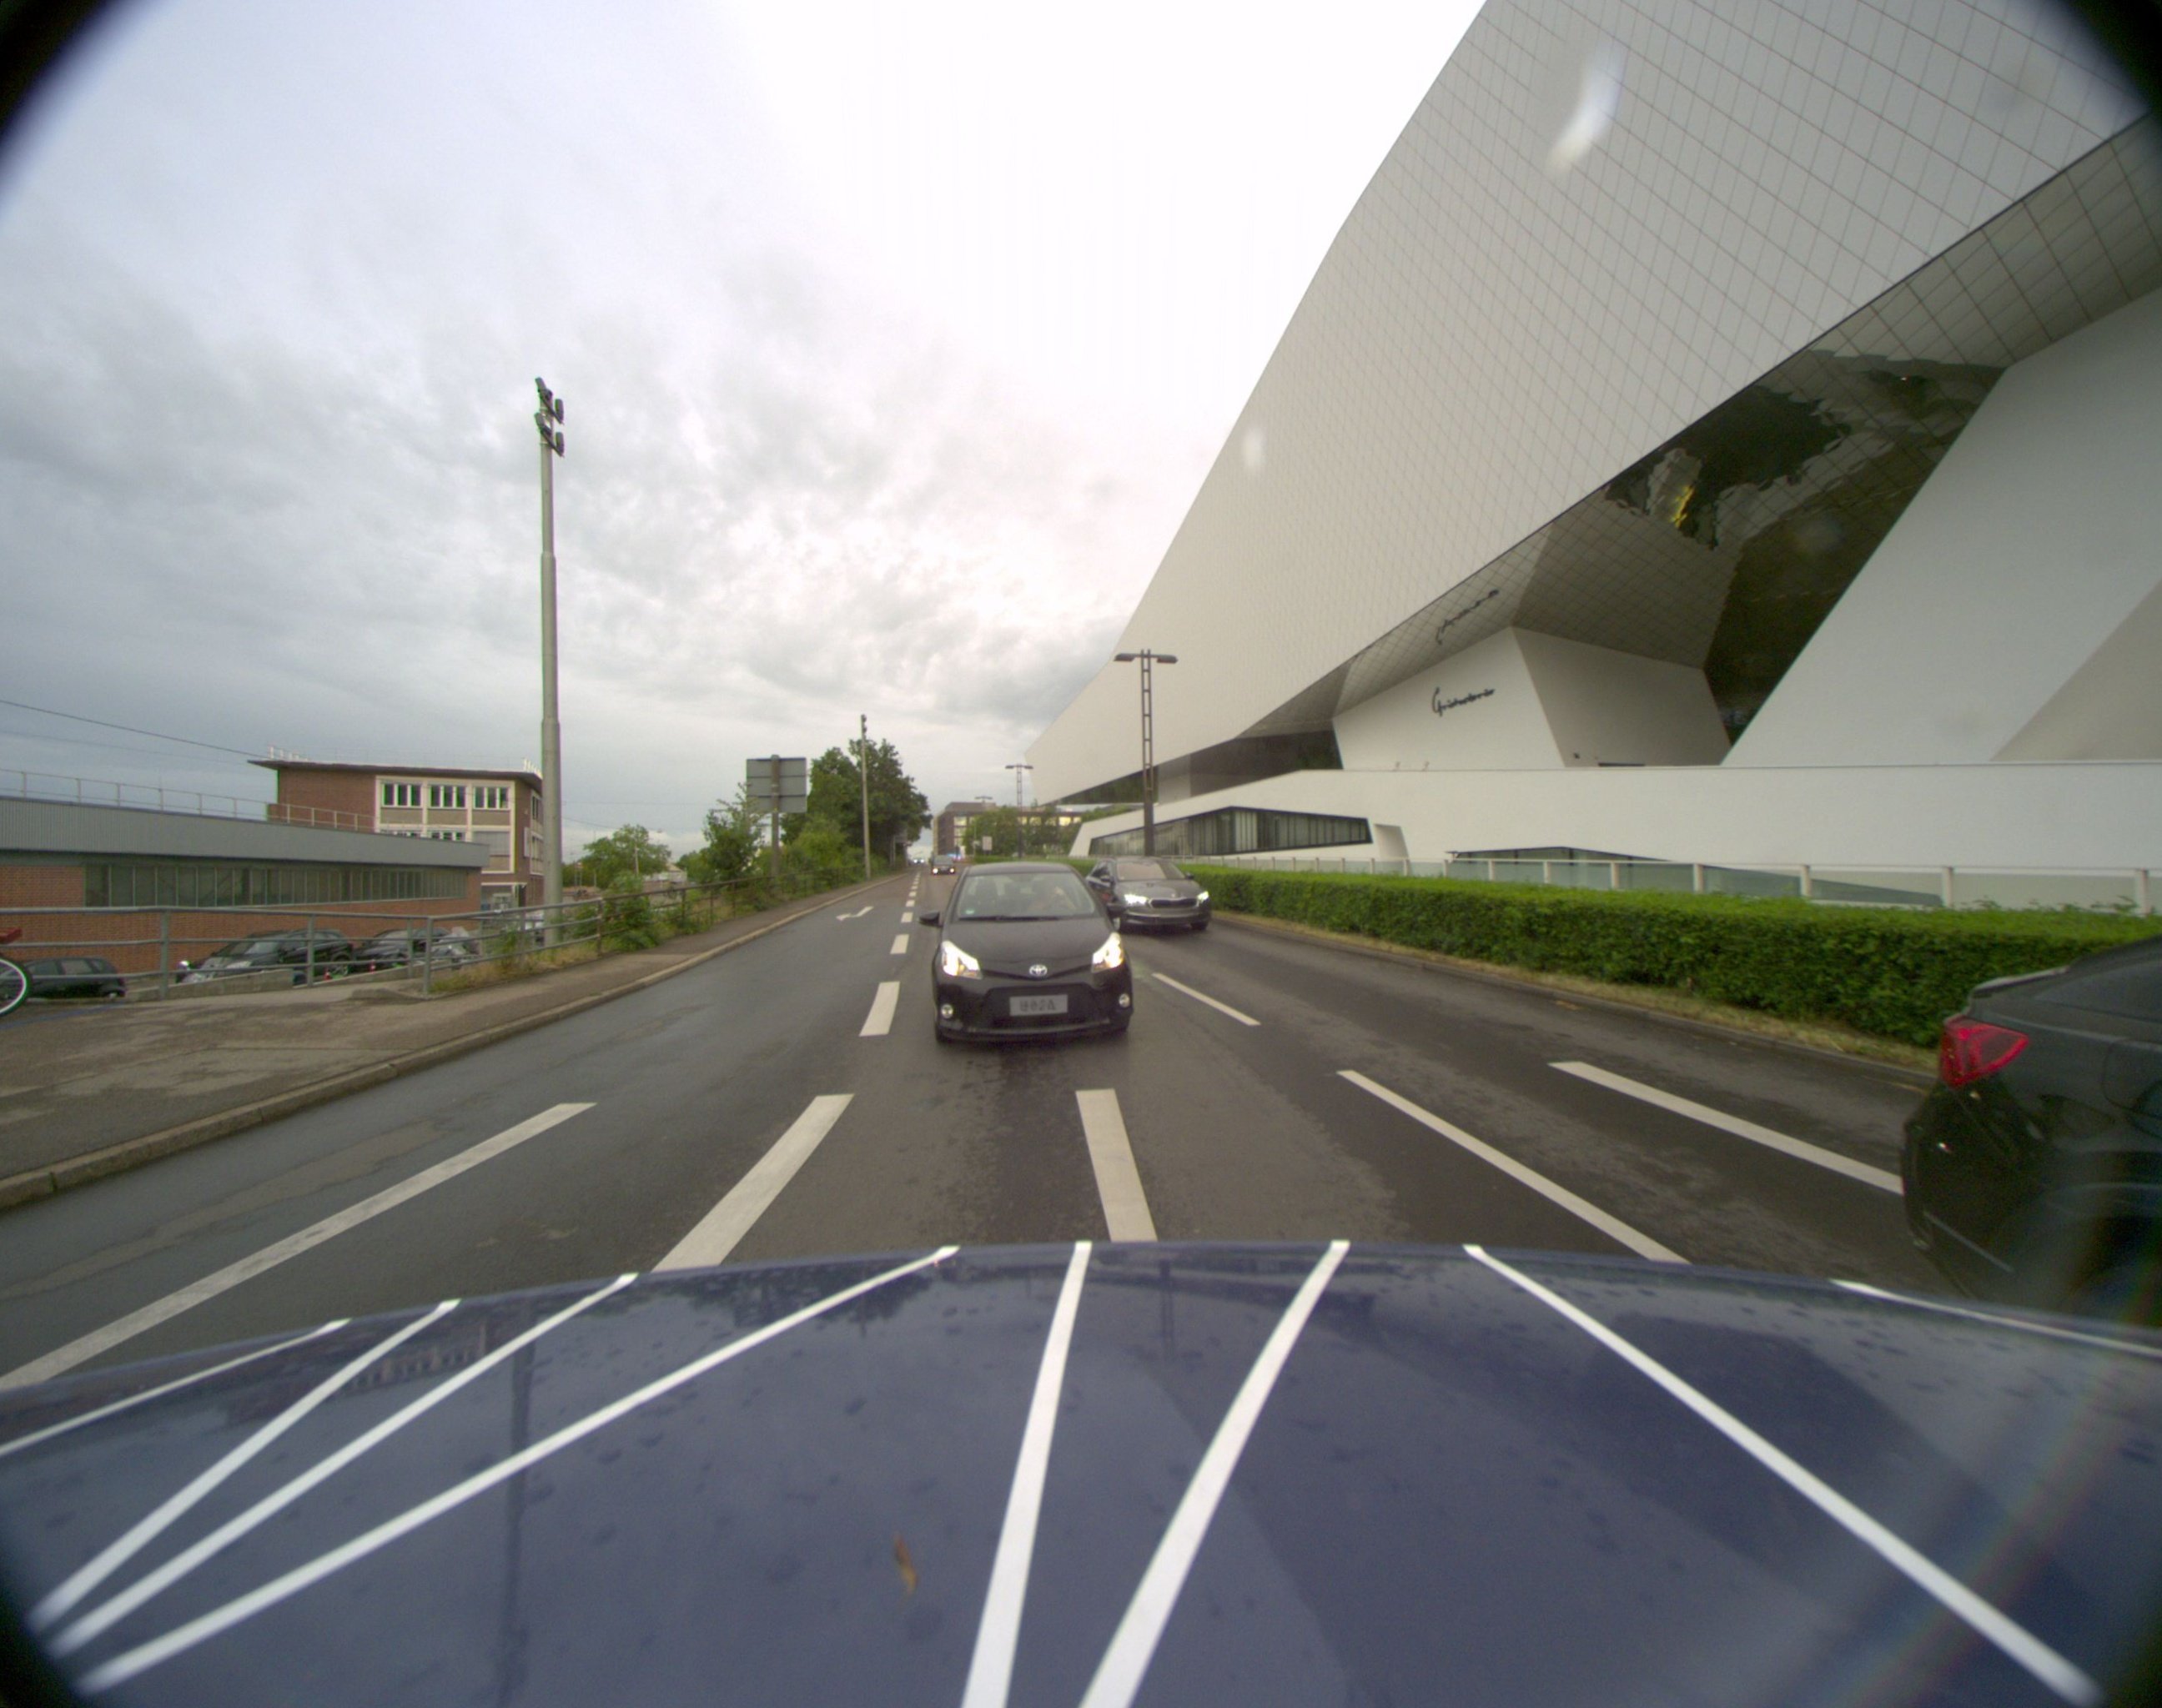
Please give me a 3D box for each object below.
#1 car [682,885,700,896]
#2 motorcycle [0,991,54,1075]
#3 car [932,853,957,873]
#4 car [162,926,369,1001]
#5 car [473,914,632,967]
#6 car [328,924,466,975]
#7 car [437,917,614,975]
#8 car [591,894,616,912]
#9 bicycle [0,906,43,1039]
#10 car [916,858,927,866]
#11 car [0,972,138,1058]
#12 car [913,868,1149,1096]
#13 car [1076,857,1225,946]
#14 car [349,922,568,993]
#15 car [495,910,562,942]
[{"bbox_3d":[-55.348,5.123,107.738,1.724,1.417,3.991,-1,-1,-34],"label":"car"},{"bbox_3d":[-13.503,2.198,8.953,1.618,0.916,0.420,-3,2,-24],"label":"motorcycle"},{"bbox_3d":[-10.546,0.674,59.015,1.750,1.466,4.065,-2,1,-9],"label":"car"},{"bbox_3d":[-24.461,3.207,23.091,1.784,1.657,4.503,-2,-1,-7],"label":"car"},{"bbox_3d":[-16.993,2.774,24.554,3.995,1.417,1.721,-2,-1,5],"label":"car"},{"bbox_3d":[-25.709,3.529,28.773,1.720,1.396,4.273,-2,-1,-7],"label":"car"},{"bbox_3d":[-16.207,2.678,22.286,3.995,1.417,1.721,-2,-1,5],"label":"car"},{"bbox_3d":[-42.338,4.289,67.382,1.723,1.417,3.991,-2,-1,-30],"label":"car"},{"bbox_3d":[-10.396,1.070,6.618,1.547,1.148,0.450,0,2,-27],"label":"bicycle"},{"bbox_3d":[-30.021,1.445,143.003,1.819,1.429,4.297,0,-2,-15],"label":"car"},{"bbox_3d":[-23.080,3.505,16.053,1.721,1.417,3.997,-2,-1,-10],"label":"car"},{"bbox_3d":[-0.632,0.966,7.604,1.695,1.498,4.007,-2,1,-8],"label":"car"},{"bbox_3d":[1.257,0.844,15.724,1.819,1.430,4.296,-2,1,-12],"label":"car"},{"bbox_3d":[-14.969,2.467,18.401,3.995,1.417,1.721,-2,-1,5],"label":"car"},{"bbox_3d":[-30.176,3.921,41.635,1.734,1.380,3.995,-2,-1,-17],"label":"car"}]
